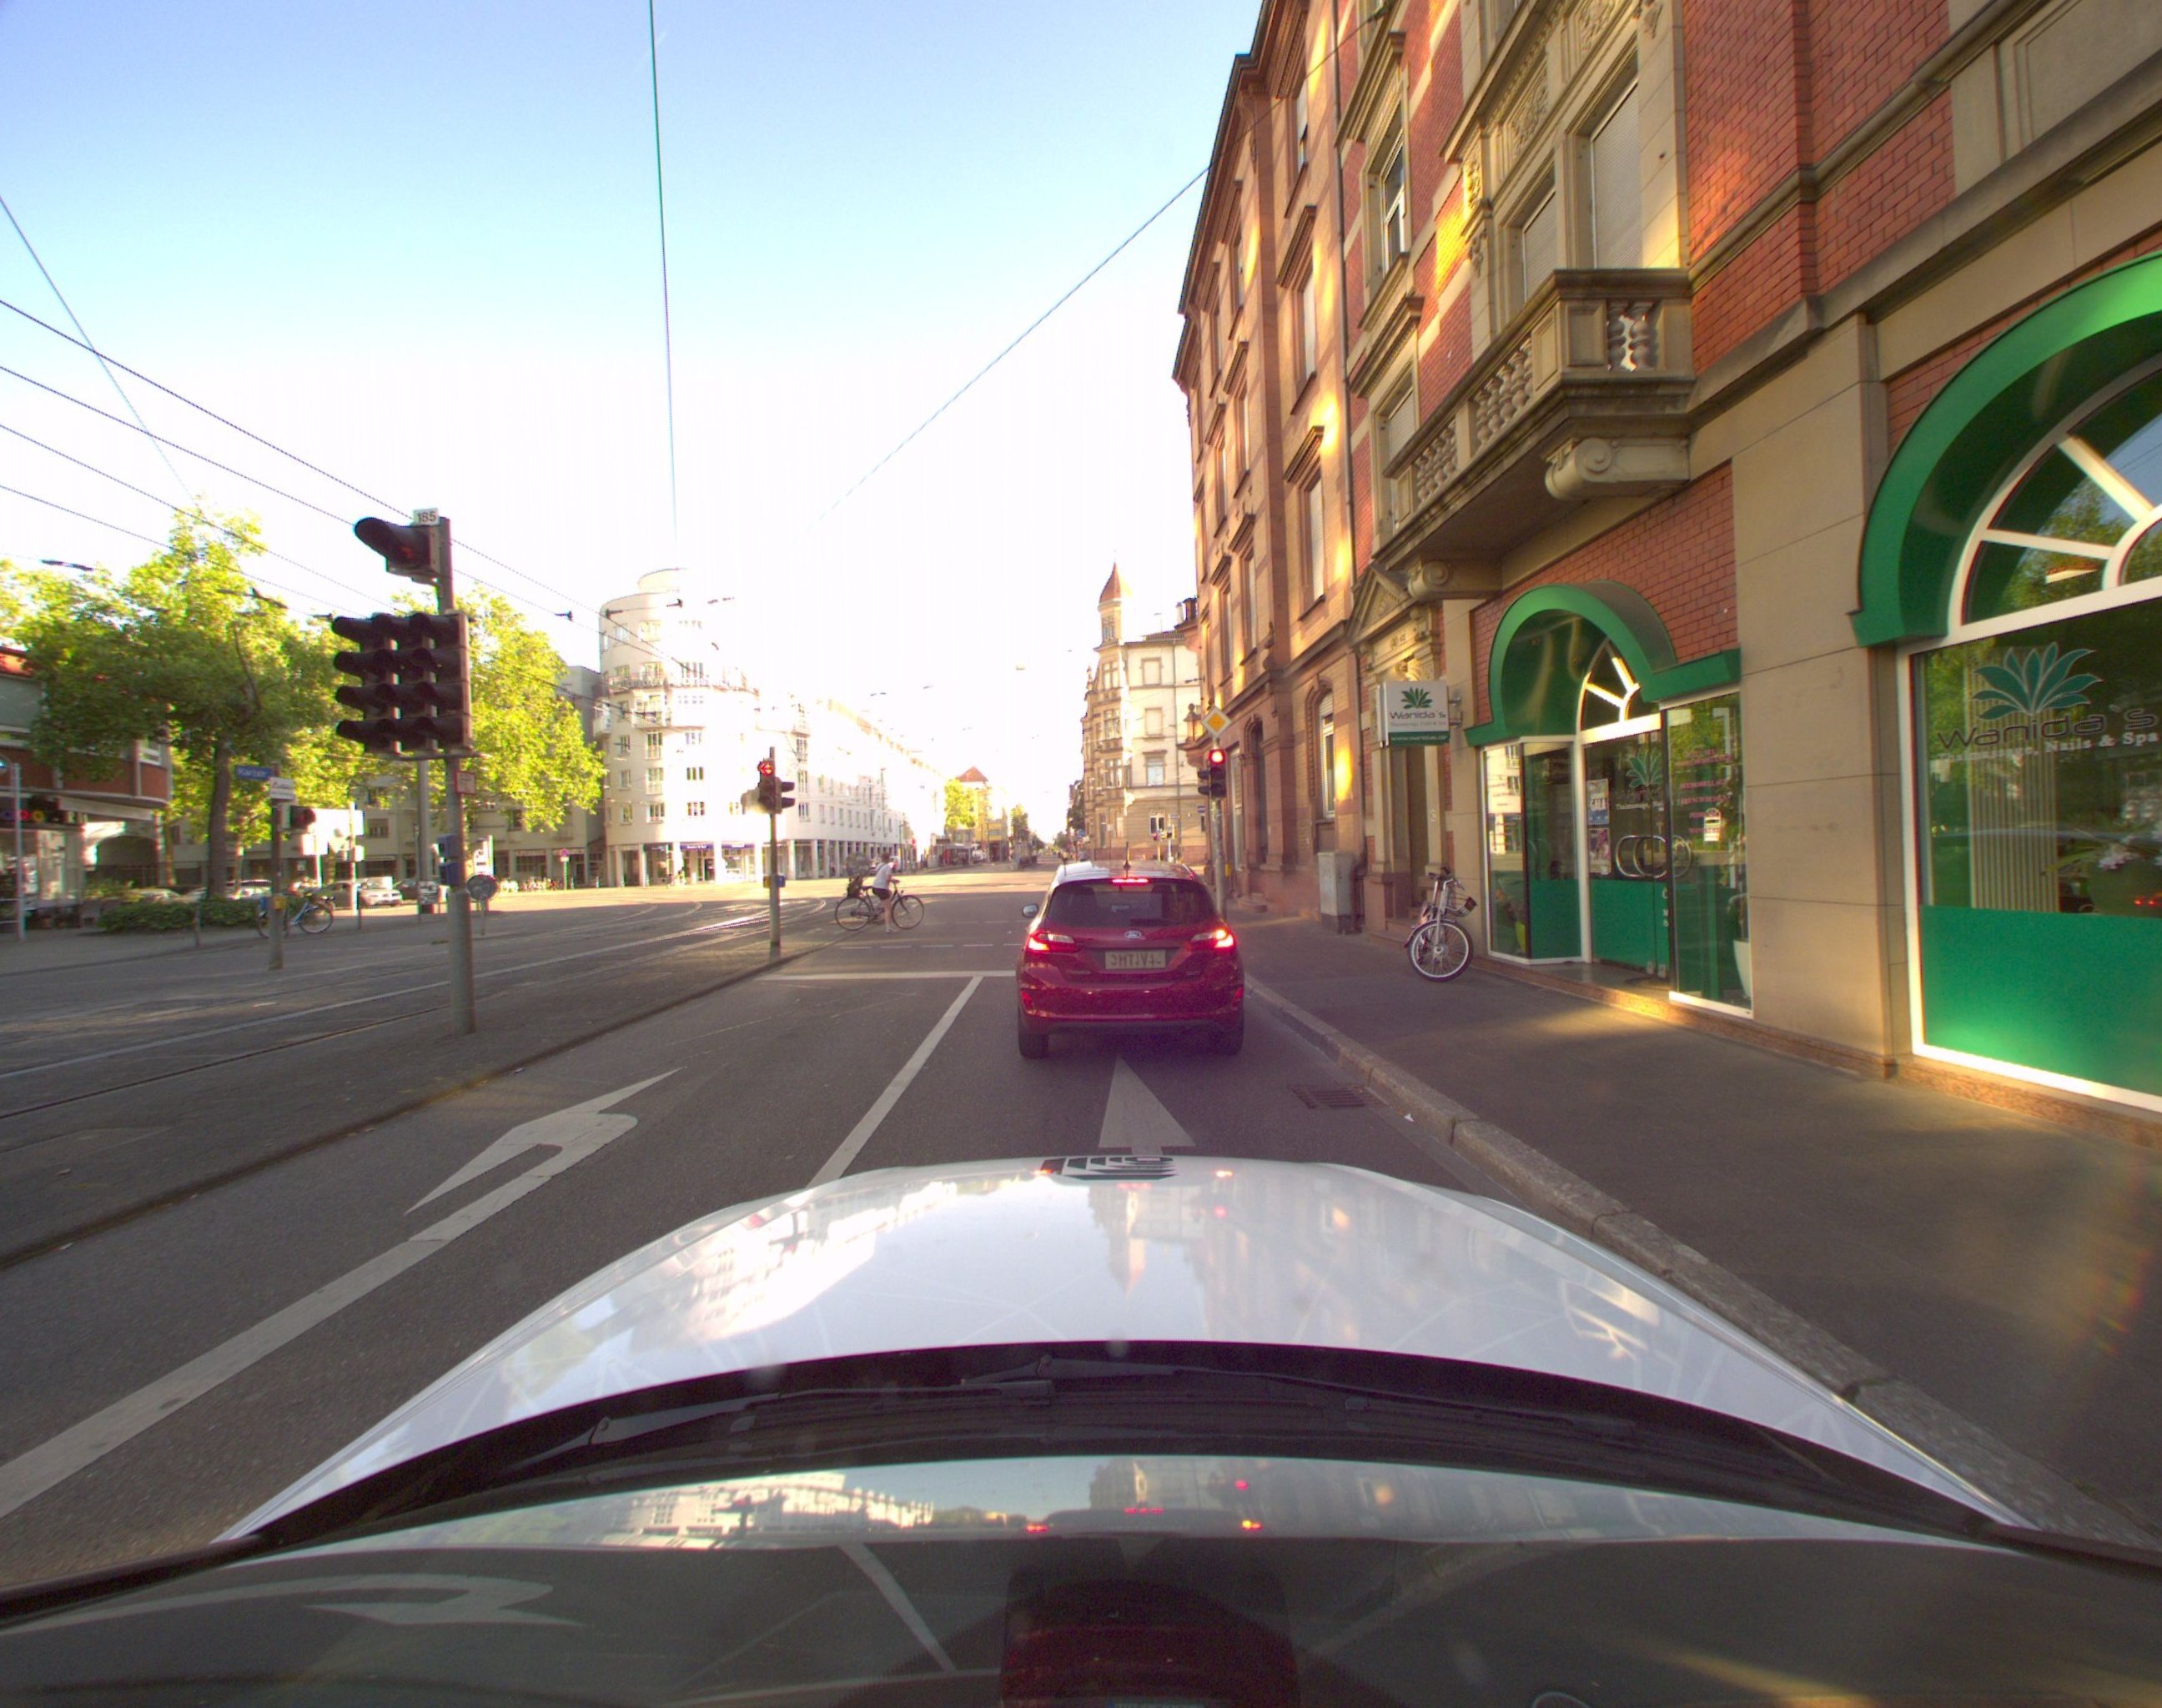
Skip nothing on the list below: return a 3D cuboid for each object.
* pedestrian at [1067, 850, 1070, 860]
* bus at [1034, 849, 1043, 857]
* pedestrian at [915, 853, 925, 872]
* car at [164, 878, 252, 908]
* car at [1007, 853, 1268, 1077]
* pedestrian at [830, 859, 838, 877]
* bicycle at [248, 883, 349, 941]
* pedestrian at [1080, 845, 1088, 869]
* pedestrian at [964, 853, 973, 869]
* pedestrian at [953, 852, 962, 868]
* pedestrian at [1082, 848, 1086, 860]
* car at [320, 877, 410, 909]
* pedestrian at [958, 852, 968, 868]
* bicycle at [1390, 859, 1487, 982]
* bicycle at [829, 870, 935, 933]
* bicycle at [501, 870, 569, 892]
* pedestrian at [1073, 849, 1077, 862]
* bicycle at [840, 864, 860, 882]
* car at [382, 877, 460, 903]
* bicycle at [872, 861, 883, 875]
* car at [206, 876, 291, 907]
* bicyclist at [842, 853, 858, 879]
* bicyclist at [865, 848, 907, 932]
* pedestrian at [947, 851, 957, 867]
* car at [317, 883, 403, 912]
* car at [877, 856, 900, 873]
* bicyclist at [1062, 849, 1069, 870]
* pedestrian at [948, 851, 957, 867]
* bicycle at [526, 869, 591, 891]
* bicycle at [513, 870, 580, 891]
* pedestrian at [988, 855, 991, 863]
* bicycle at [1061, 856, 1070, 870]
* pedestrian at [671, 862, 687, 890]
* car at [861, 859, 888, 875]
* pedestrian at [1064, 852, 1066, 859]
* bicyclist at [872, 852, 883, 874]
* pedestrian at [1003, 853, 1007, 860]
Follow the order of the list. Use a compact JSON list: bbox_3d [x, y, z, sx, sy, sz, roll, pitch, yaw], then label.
[{"bbox_3d":[-2.741,0.212,173.914,0.575,2.013,0.630,-2,0,-1],"label":"pedestrian"},{"bbox_3d":[-11.484,-0.213,219.007,1.919,2.013,7.136,-2,0,0],"label":"bus"},{"bbox_3d":[-14.781,0.769,74.634,0.766,1.730,0.573,-2,0,0],"label":"pedestrian"},{"bbox_3d":[-63.702,2.819,59.545,1.987,1.964,4.001,-2,0,1],"label":"car"},{"bbox_3d":[0.289,0.741,7.455,1.750,1.466,3.941,-1,0,-3],"label":"car"},{"bbox_3d":[-22.697,1.291,74.791,0.524,1.681,0.484,-2,0,-9],"label":"pedestrian"},{"bbox_3d":[-19.865,1.441,20.727,0.668,1.327,1.906,1,0,1],"label":"bicycle"},{"bbox_3d":[0.243,0.266,71.025,0.649,2.013,0.759,-2,0,-2],"label":"pedestrian"},{"bbox_3d":[-14.876,0.906,107.371,1.043,2.013,0.958,-2,0,-4],"label":"pedestrian"},{"bbox_3d":[-16.227,0.761,106.773,1.043,2.013,0.958,-2,0,-4],"label":"pedestrian"},{"bbox_3d":[0.471,0.060,136.163,0.574,2.013,0.631,-2,0,5],"label":"pedestrian"},{"bbox_3d":[-40.535,2.202,46.124,3.979,1.559,1.635,-3,0,11],"label":"car"},{"bbox_3d":[-15.187,0.738,104.855,1.043,2.013,0.958,-2,0,-4],"label":"pedestrian"},{"bbox_3d":[3.841,0.670,8.865,0.710,1.152,1.662,-4,0,17],"label":"bicycle"},{"bbox_3d":[-4.032,0.934,16.507,2.025,1.177,0.624,-1,-1,-21],"label":"bicycle"},{"bbox_3d":[-43.419,2.159,64.835,4.685,1.530,1.067,-2,0,1],"label":"bicycle"},{"bbox_3d":[-0.937,0.224,130.651,0.574,2.013,0.631,-2,0,5],"label":"pedestrian"},{"bbox_3d":[-15.574,1.288,54.948,0.805,1.147,2.048,-2,0,-1],"label":"bicycle"},{"bbox_3d":[-44.525,2.413,55.012,3.970,1.531,1.618,-2,0,3],"label":"car"},{"bbox_3d":[-17.654,1.225,70.545,0.809,1.147,1.999,-2,0,-16],"label":"bicycle"},{"bbox_3d":[-60.783,2.723,59.582,1.987,1.964,4.001,-2,0,1],"label":"car"},{"bbox_3d":[-15.596,0.822,55.004,0.805,1.726,0.794,-2,0,-2],"label":"bicyclist"},{"bbox_3d":[-3.912,0.700,16.297,0.732,1.627,0.760,0,-1,-20],"label":"bicyclist"},{"bbox_3d":[-16.548,0.611,104.687,1.043,2.013,0.958,-2,0,-4],"label":"pedestrian"},{"bbox_3d":[-37.131,2.227,41.927,3.968,1.295,1.781,-2,0,24],"label":"car"},{"bbox_3d":[-21.103,1.135,89.264,1.696,1.718,3.562,-2,0,-2],"label":"car"},{"bbox_3d":[-1.272,0.452,67.500,0.499,1.676,0.544,-2,0,-8],"label":"bicyclist"},{"bbox_3d":[-16.168,0.591,102.574,0.953,2.013,1.048,-2,0,-1],"label":"pedestrian"},{"bbox_3d":[-43.280,2.149,67.525,4.685,1.530,1.067,-2,0,1],"label":"bicycle"},{"bbox_3d":[-43.265,2.140,65.974,4.685,1.530,1.067,-2,0,1],"label":"bicycle"},{"bbox_3d":[-18.945,1.022,168.301,0.522,1.488,0.583,-2,0,1],"label":"pedestrian"},{"bbox_3d":[-1.279,0.755,67.674,0.526,1.089,1.482,-2,0,-7],"label":"bicycle"},{"bbox_3d":[-30.197,1.626,61.147,0.949,2.013,0.931,-2,0,-29],"label":"pedestrian"},{"bbox_3d":[-20.682,1.275,81.753,1.760,1.546,3.460,-2,0,-1],"label":"car"},{"bbox_3d":[-3.982,0.369,204.706,0.575,1.887,0.669,-2,0,-1],"label":"pedestrian"},{"bbox_3d":[-17.626,0.754,70.402,0.809,1.821,0.988,-2,0,-16],"label":"bicyclist"},{"bbox_3d":[-18.515,0.666,198.607,0.630,1.604,0.575,-2,0,-18],"label":"pedestrian"}]
